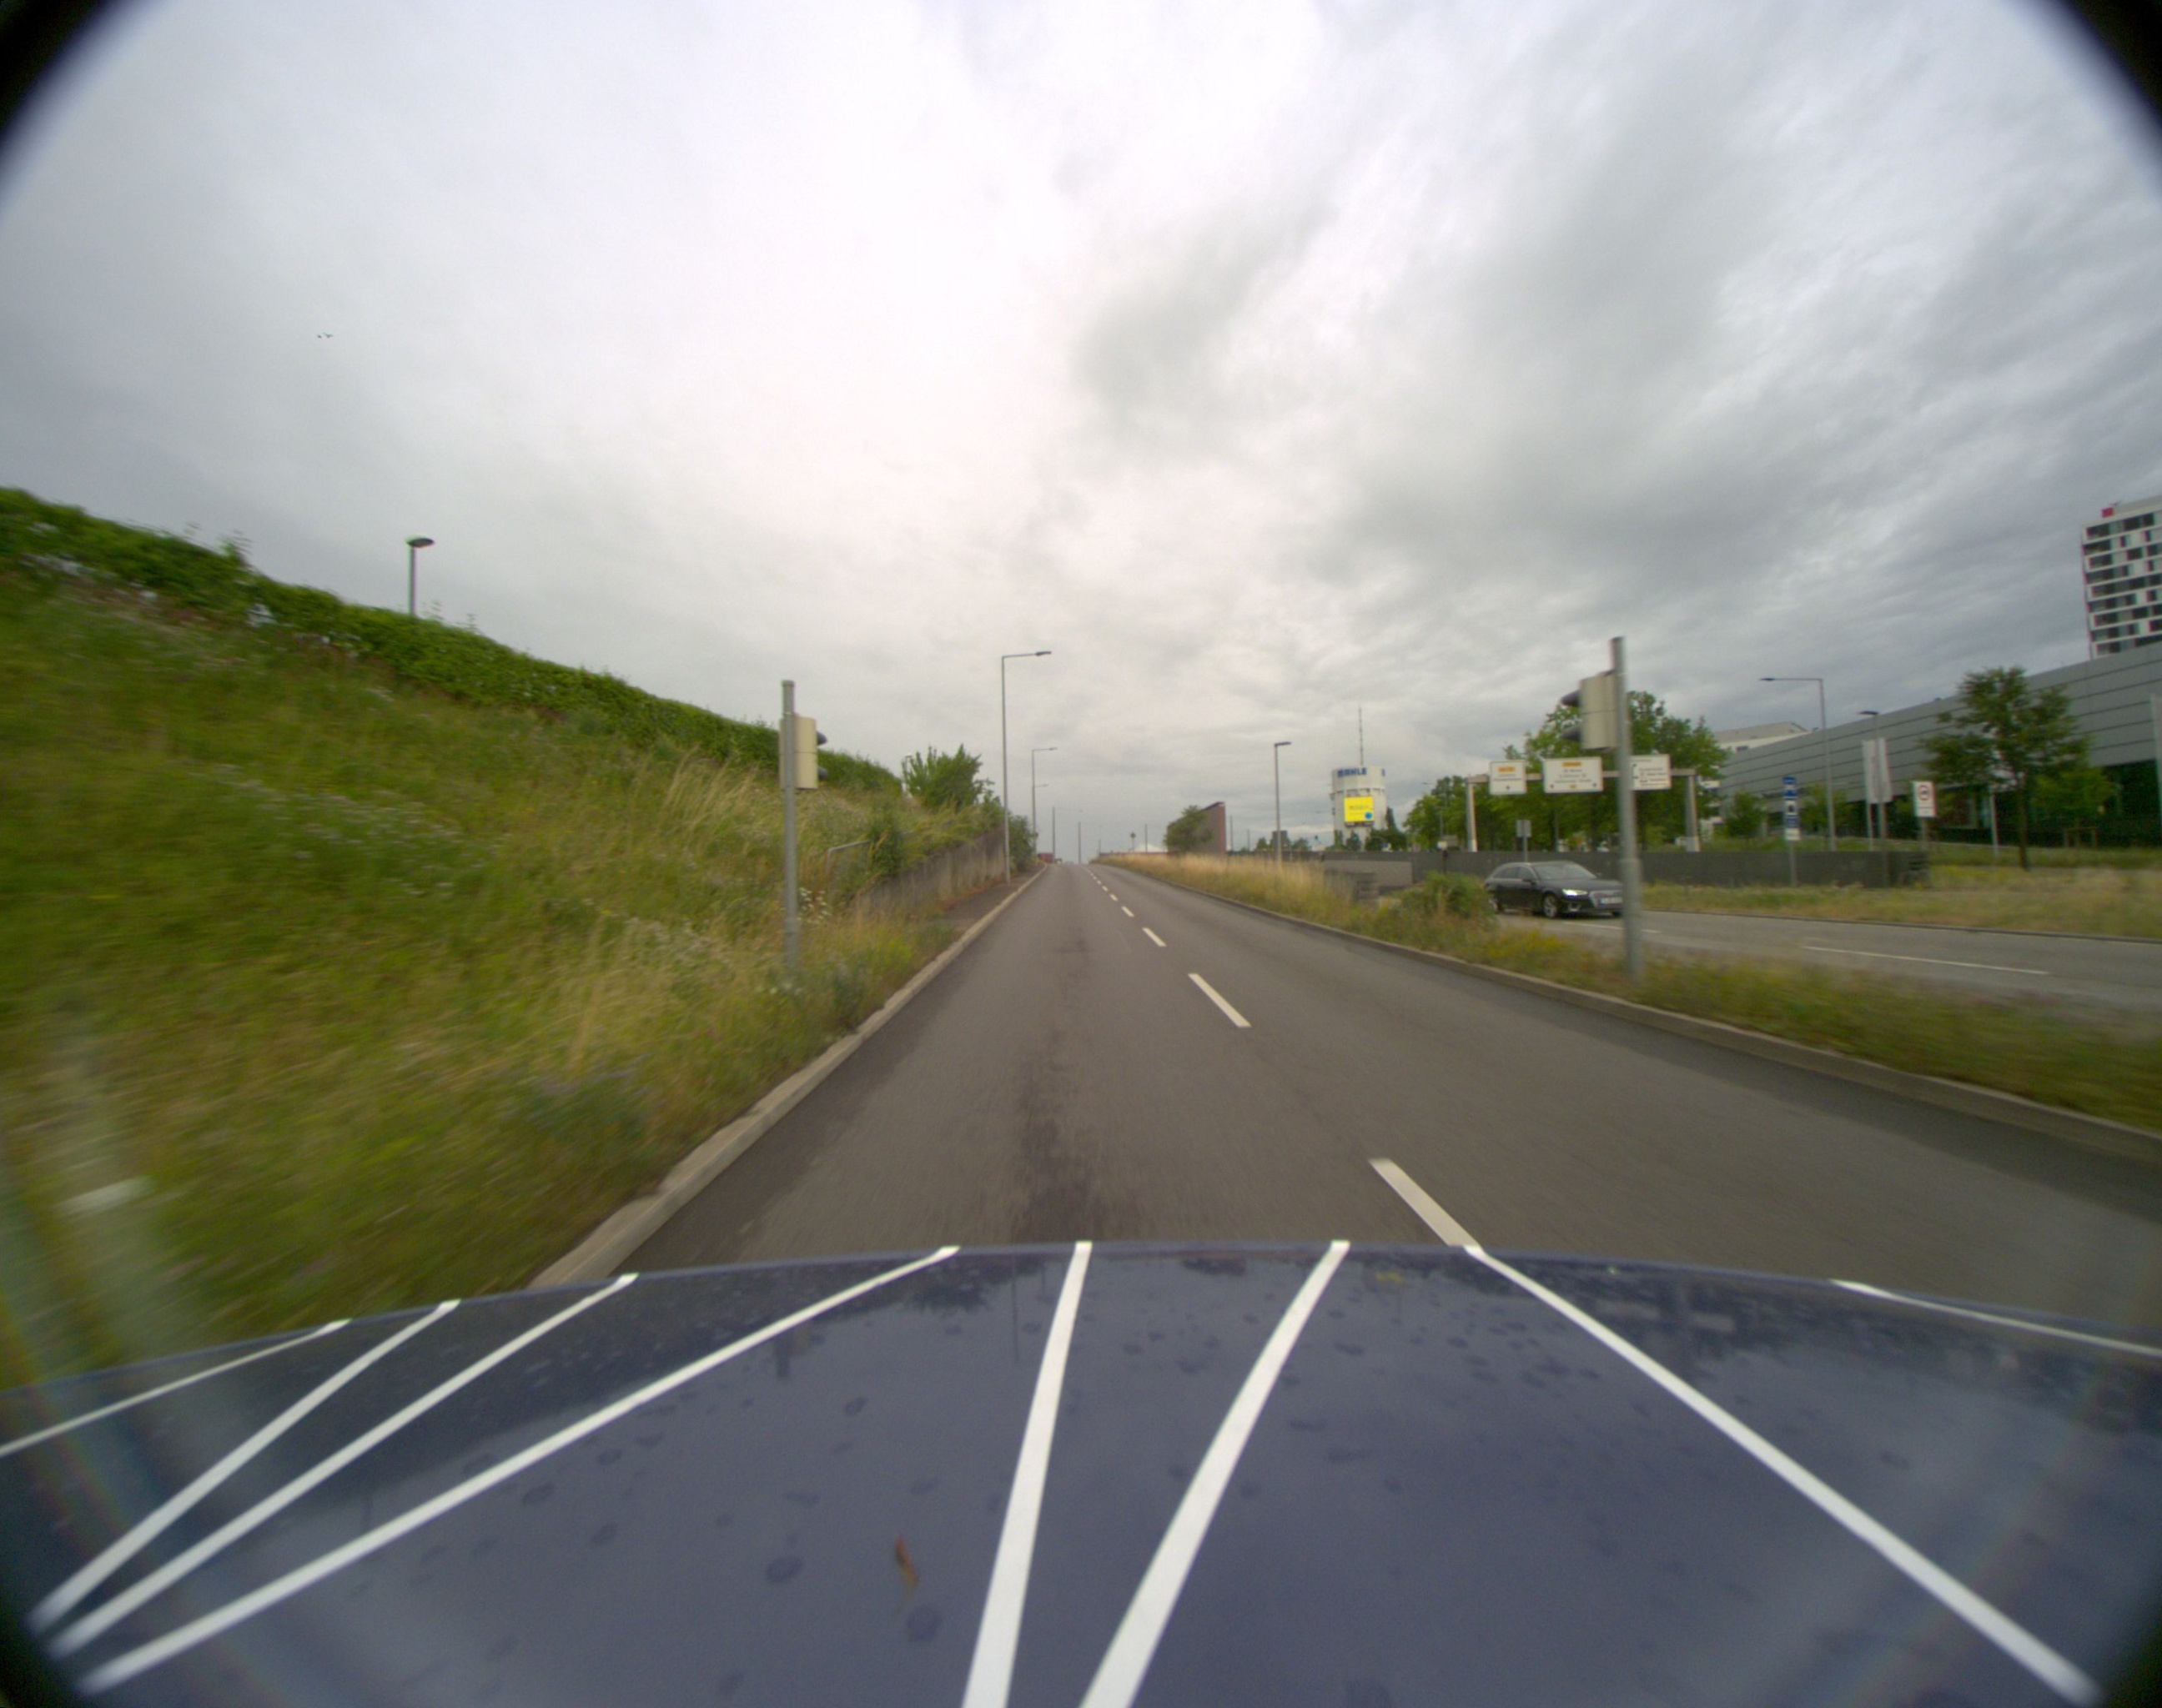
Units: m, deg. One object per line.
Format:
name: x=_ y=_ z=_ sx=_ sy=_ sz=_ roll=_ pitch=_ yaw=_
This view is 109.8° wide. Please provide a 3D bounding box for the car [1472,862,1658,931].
car: x=12.222 y=1.000 z=19.638 sx=1.814 sy=1.411 sz=4.631 roll=-4 pitch=0 yaw=1
